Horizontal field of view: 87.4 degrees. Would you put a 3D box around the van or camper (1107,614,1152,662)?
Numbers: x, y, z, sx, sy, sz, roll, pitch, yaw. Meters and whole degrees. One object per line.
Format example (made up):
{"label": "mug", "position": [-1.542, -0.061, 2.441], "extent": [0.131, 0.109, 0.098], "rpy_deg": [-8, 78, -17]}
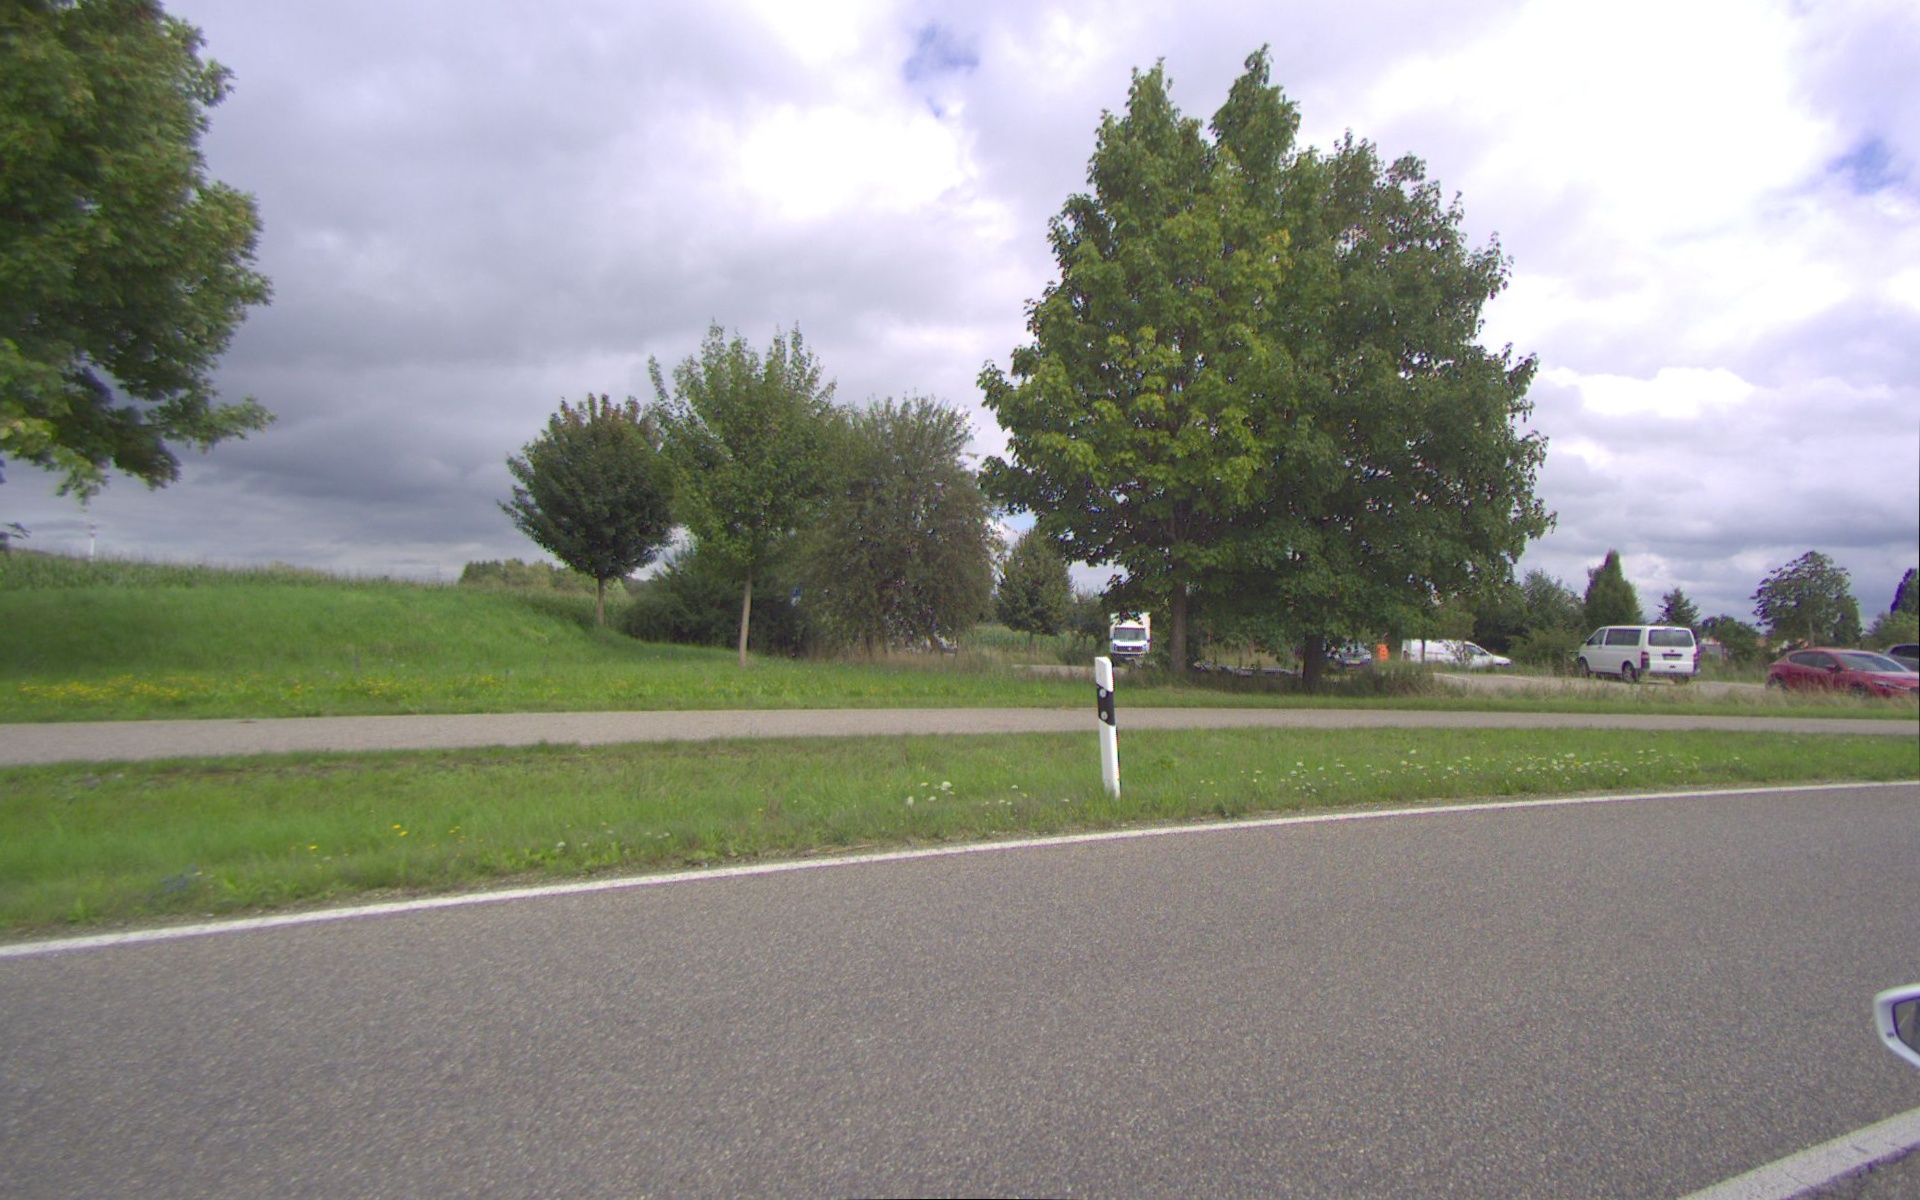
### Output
{"label": "van or camper", "position": [9.246, 2.002, 54.715], "extent": [2.239, 2.378, 6.053], "rpy_deg": [1, -1, 10]}

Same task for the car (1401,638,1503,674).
{"label": "car", "position": [24.727, 2.793, 50.643], "extent": [4.362, 1.644, 2.001], "rpy_deg": [1, -1, 18]}

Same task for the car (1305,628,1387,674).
{"label": "car", "position": [14.034, 1.853, 36.729], "extent": [1.757, 1.544, 4.003], "rpy_deg": [1, -2, 6]}

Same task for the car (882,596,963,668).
{"label": "car", "position": [-1.394, 1.316, 40.594], "extent": [2.156, 2.653, 6.341], "rpy_deg": [1, -2, 8]}

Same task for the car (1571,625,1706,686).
{"label": "car", "position": [24.063, 1.914, 35.864], "extent": [2.019, 1.951, 4.699], "rpy_deg": [1, -1, 6]}

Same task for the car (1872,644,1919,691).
{"label": "car", "position": [33.370, 2.322, 33.893], "extent": [1.926, 1.572, 4.003], "rpy_deg": [1, -2, 8]}

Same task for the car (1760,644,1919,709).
{"label": "car", "position": [22.053, 1.824, 24.636], "extent": [1.777, 1.435, 4.382], "rpy_deg": [1, -2, 7]}
